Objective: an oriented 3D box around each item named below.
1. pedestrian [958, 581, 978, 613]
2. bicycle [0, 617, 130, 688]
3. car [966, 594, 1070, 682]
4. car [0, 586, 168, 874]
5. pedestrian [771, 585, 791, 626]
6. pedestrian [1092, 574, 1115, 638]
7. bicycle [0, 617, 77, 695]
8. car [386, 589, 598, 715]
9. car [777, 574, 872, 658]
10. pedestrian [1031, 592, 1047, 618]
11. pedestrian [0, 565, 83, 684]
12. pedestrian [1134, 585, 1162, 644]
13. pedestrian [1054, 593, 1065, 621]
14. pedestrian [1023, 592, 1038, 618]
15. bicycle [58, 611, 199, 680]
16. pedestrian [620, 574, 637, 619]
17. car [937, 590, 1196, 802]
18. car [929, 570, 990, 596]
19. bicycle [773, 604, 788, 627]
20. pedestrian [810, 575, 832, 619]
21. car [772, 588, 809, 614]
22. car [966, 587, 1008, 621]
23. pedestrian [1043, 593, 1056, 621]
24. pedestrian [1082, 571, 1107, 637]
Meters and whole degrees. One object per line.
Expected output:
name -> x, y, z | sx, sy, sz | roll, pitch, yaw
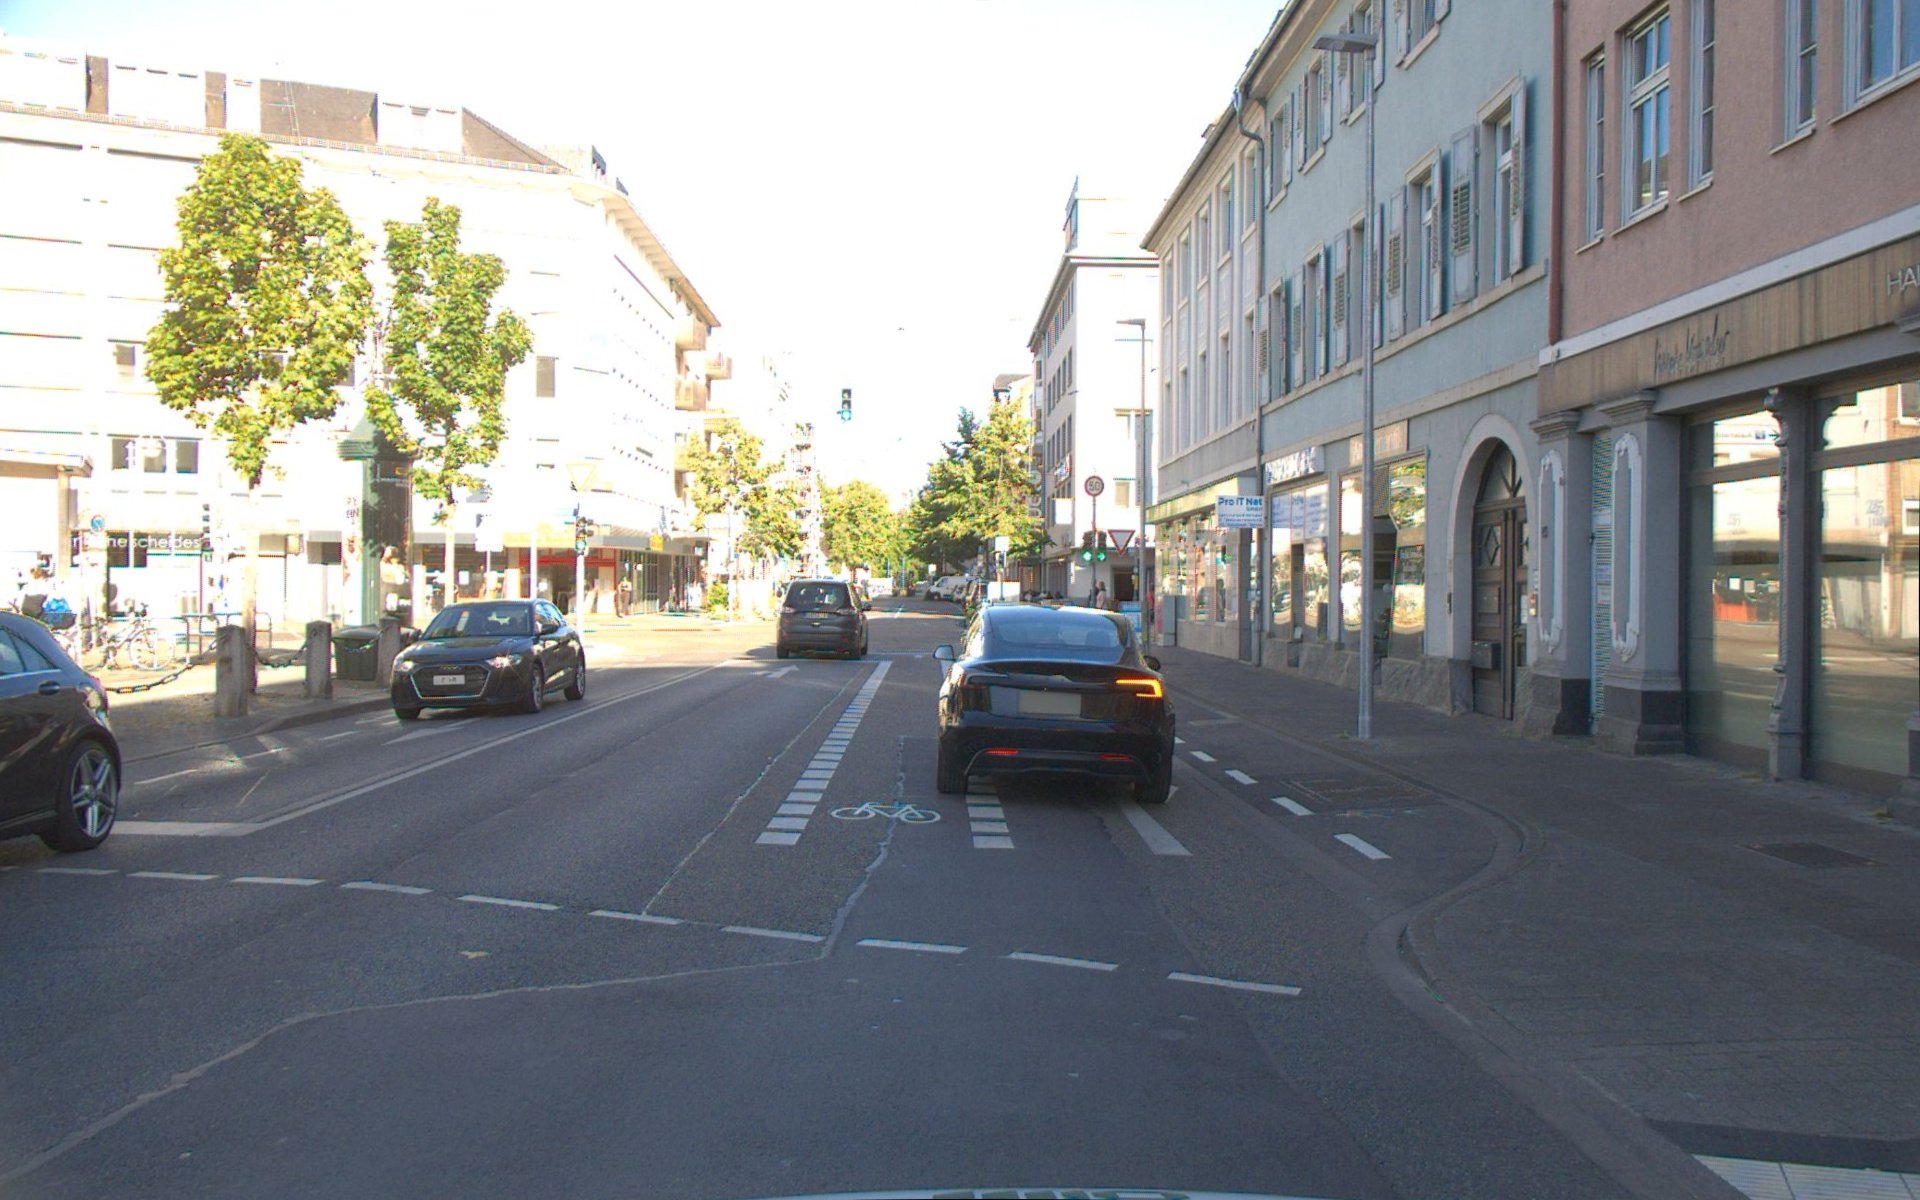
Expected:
pedestrian -> 0.470, -0.172, 100.121 | 0.937, 1.949, 1.106 | 0, 0, 15
bicycle -> -13.852, 0.791, 25.272 | 1.969, 1.020, 0.889 | 0, 0, 13
car -> 0.988, 0.631, 29.684 | 1.725, 1.443, 4.355 | 1, 0, 1
car -> -5.706, 0.696, 7.996 | 1.713, 1.448, 4.254 | -3, 0, -1
pedestrian -> -7.826, 0.237, 72.299 | 0.777, 1.742, 0.651 | 1, 0, -16
pedestrian -> 4.058, 0.154, 46.772 | 0.561, 1.790, 0.649 | 1, 0, -2
bicycle -> -13.349, 0.762, 22.920 | 1.844, 1.020, 0.766 | 1, 0, 7
car -> -5.947, 0.598, 21.493 | 1.617, 1.422, 4.042 | -2, 0, -1
car -> -2.984, 0.317, 37.182 | 1.865, 1.763, 4.287 | 0, 0, -1
pedestrian -> 4.193, 0.264, 87.563 | 0.716, 1.371, 1.059 | 0, 0, -4
pedestrian -> -13.889, 0.349, 24.687 | 1.059, 1.727, 0.903 | 1, 0, 13
pedestrian -> 5.568, 0.428, 49.006 | 0.675, 1.733, 0.912 | -1, 0, 0
pedestrian -> 4.755, 0.328, 78.858 | 0.477, 1.345, 0.654 | 0, 0, 6
pedestrian -> 3.777, 0.255, 88.662 | 0.695, 1.371, 1.059 | 0, 0, -4
bicycle -> -13.846, 0.748, 27.567 | 1.947, 1.107, 0.754 | 1, 0, 0
pedestrian -> -13.117, -0.136, 65.508 | 0.547, 1.739, 0.712 | -1, 0, -4
car -> 0.741, 0.669, 13.897 | 1.831, 1.452, 4.364 | 0, 1, 0
car -> -0.095, -1.499, 145.375 | 5.283, 2.183, 1.999 | 0, 0, -3
bicycle -> -7.878, 0.669, 72.593 | 0.472, 0.972, 1.450 | 0, 0, -15
pedestrian -> -6.171, -0.126, 73.458 | 0.765, 1.899, 0.997 | -3, 1, -16
car -> -10.881, 0.050, 106.559 | 1.952, 1.626, 4.000 | 1, 0, 0
car -> 1.330, 0.199, 83.674 | 1.960, 1.665, 4.287 | 0, 0, -1
pedestrian -> 4.228, 0.334, 78.066 | 0.574, 1.336, 0.560 | 0, 0, -1
pedestrian -> 3.848, 0.103, 47.307 | 0.627, 1.874, 0.681 | 0, 0, -2
